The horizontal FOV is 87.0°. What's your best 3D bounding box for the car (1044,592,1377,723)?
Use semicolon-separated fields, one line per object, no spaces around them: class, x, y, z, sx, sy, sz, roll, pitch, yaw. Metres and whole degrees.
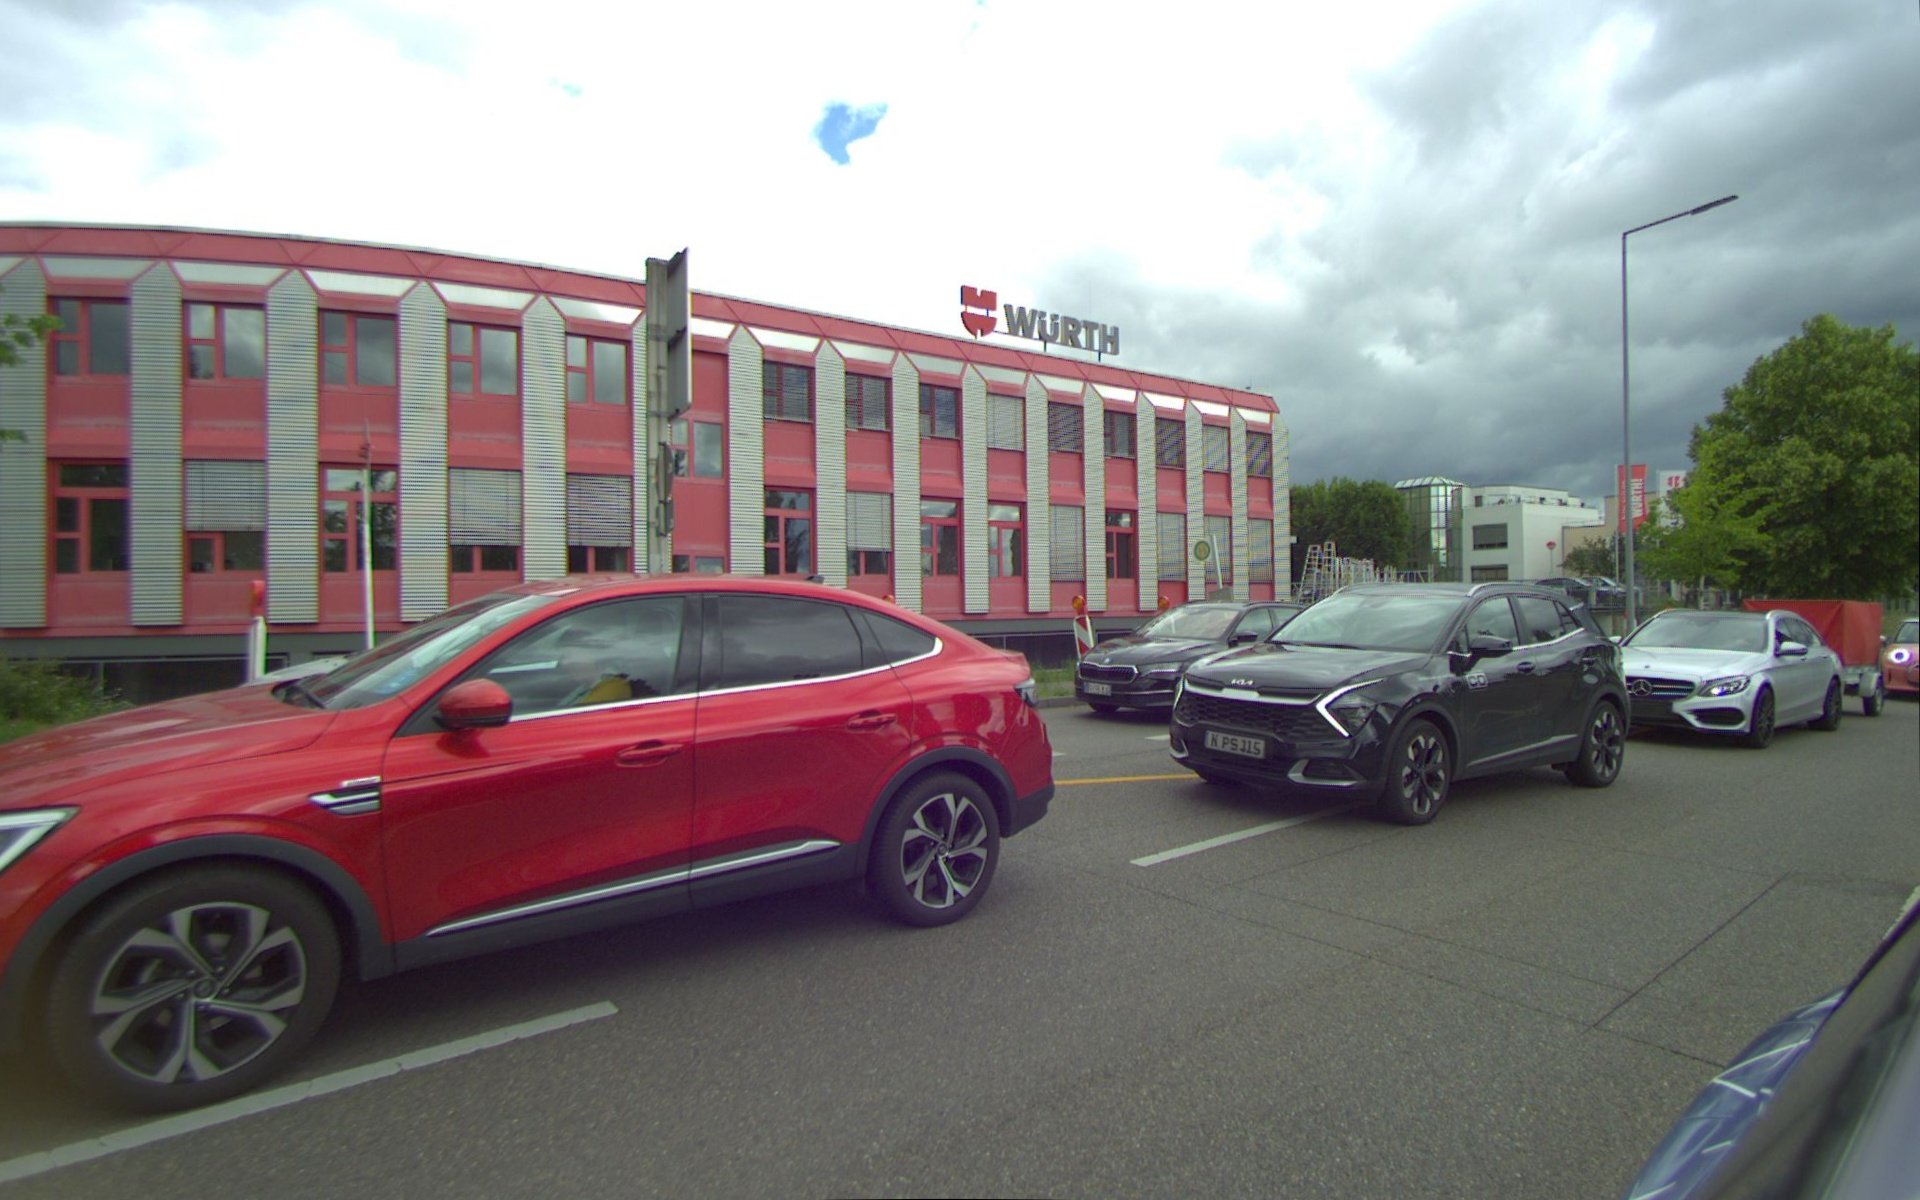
car;3.319;0.651;13.170;4.195;1.451;1.843;1;0;-33

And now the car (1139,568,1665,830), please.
car;3.649;0.587;8.094;4.319;1.581;1.851;0;0;-34

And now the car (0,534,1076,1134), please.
car;-1.634;0.592;4.323;4.239;1.543;1.712;0;0;-37

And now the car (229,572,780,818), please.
car;-3.398;0.581;7.895;3.624;1.476;1.626;0;-1;-41

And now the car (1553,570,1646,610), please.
car;33.441;-0.480;53.000;1.610;1.984;3.769;3;-2;-31

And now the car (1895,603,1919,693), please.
car;17.410;0.816;17.547;1.718;1.476;3.638;0;-1;44

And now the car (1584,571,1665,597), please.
car;41.897;-0.987;63.881;1.720;1.502;3.941;2;-2;-31

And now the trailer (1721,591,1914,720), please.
trailer;12.178;0.713;14.323;3.242;1.614;1.413;1;0;-37

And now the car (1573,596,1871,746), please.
car;9.127;0.711;11.993;4.406;1.466;1.676;0;0;-37
